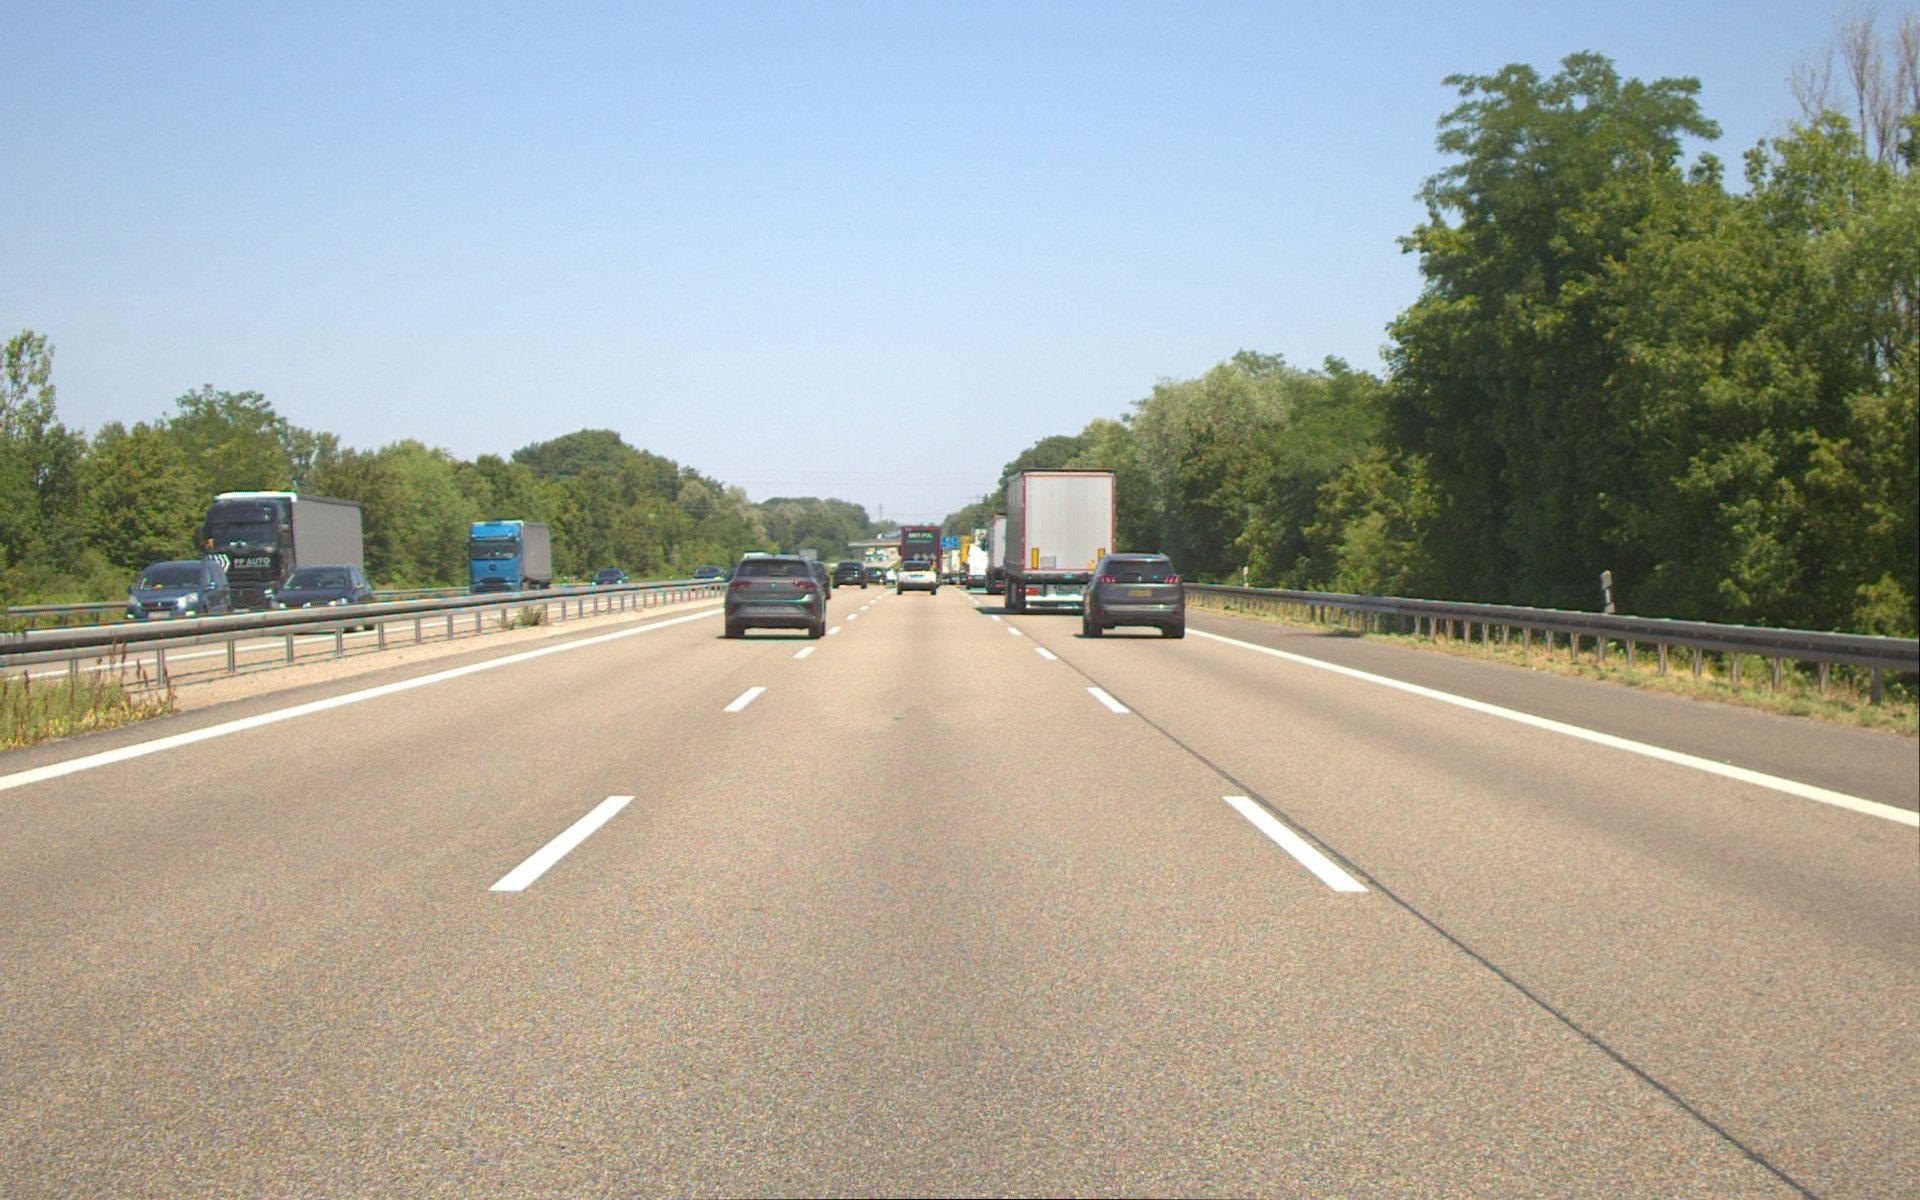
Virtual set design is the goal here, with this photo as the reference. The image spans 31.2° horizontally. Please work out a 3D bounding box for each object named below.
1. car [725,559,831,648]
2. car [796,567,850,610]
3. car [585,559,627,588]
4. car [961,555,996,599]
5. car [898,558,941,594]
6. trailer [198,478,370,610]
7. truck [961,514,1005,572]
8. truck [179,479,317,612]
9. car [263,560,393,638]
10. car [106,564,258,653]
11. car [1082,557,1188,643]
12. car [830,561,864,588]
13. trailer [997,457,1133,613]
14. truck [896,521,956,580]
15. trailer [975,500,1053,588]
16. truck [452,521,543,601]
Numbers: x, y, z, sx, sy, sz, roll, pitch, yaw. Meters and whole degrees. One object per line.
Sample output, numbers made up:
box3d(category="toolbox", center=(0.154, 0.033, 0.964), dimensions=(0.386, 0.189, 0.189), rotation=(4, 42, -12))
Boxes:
box3d(category="car", center=(-3.381, 0.039, 64.362), dimensions=(1.759, 1.525, 4.286), rotation=(1, 1, 0))
box3d(category="car", center=(-5.267, -0.468, 132.310), dimensions=(1.900, 1.525, 4.084), rotation=(1, 1, 0))
box3d(category="car", center=(-19.596, -1.475, 190.404), dimensions=(1.850, 1.458, 4.314), rotation=(3, 0, -1))
box3d(category="car", center=(1.047, -1.353, 198.983), dimensions=(1.907, 2.417, 4.286), rotation=(1, 1, 0))
box3d(category="car", center=(-1.841, -1.113, 156.170), dimensions=(1.900, 1.525, 4.084), rotation=(1, 1, 0))
box3d(category="trailer", center=(-22.780, -1.930, 116.655), dimensions=(3.348, 4.172, 13.543), rotation=(-1, 1, -1))
box3d(category="truck", center=(1.521, -3.760, 225.102), dimensions=(2.792, 3.713, 7.108), rotation=(1, 1, 1))
box3d(category="truck", center=(-22.704, -1.762, 109.955), dimensions=(3.197, 4.115, 6.194), rotation=(0, 1, -1))
box3d(category="car", center=(-13.385, -0.046, 73.070), dimensions=(1.751, 1.479, 4.727), rotation=(-4, 1, 0))
box3d(category="car", center=(-18.257, 0.172, 80.951), dimensions=(2.228, 1.982, 5.357), rotation=(1, 1, 1))
box3d(category="car", center=(3.379, -0.021, 67.004), dimensions=(1.845, 1.623, 4.135), rotation=(0, 1, 0))
box3d(category="car", center=(-6.754, -1.526, 206.160), dimensions=(1.907, 1.525, 4.286), rotation=(1, 1, 0))
box3d(category="trailer", center=(2.930, -1.816, 100.428), dimensions=(3.434, 4.167, 13.633), rotation=(1, 0, 0))
box3d(category="truck", center=(-2.195, -3.241, 223.415), dimensions=(3.667, 3.713, 7.108), rotation=(1, 1, 1))
box3d(category="trailer", center=(2.457, -2.622, 160.111), dimensions=(3.122, 3.913, 9.937), rotation=(1, 1, -1))
box3d(category="truck", center=(-23.419, -2.017, 174.431), dimensions=(3.252, 3.972, 8.727), rotation=(0, 1, 1))
